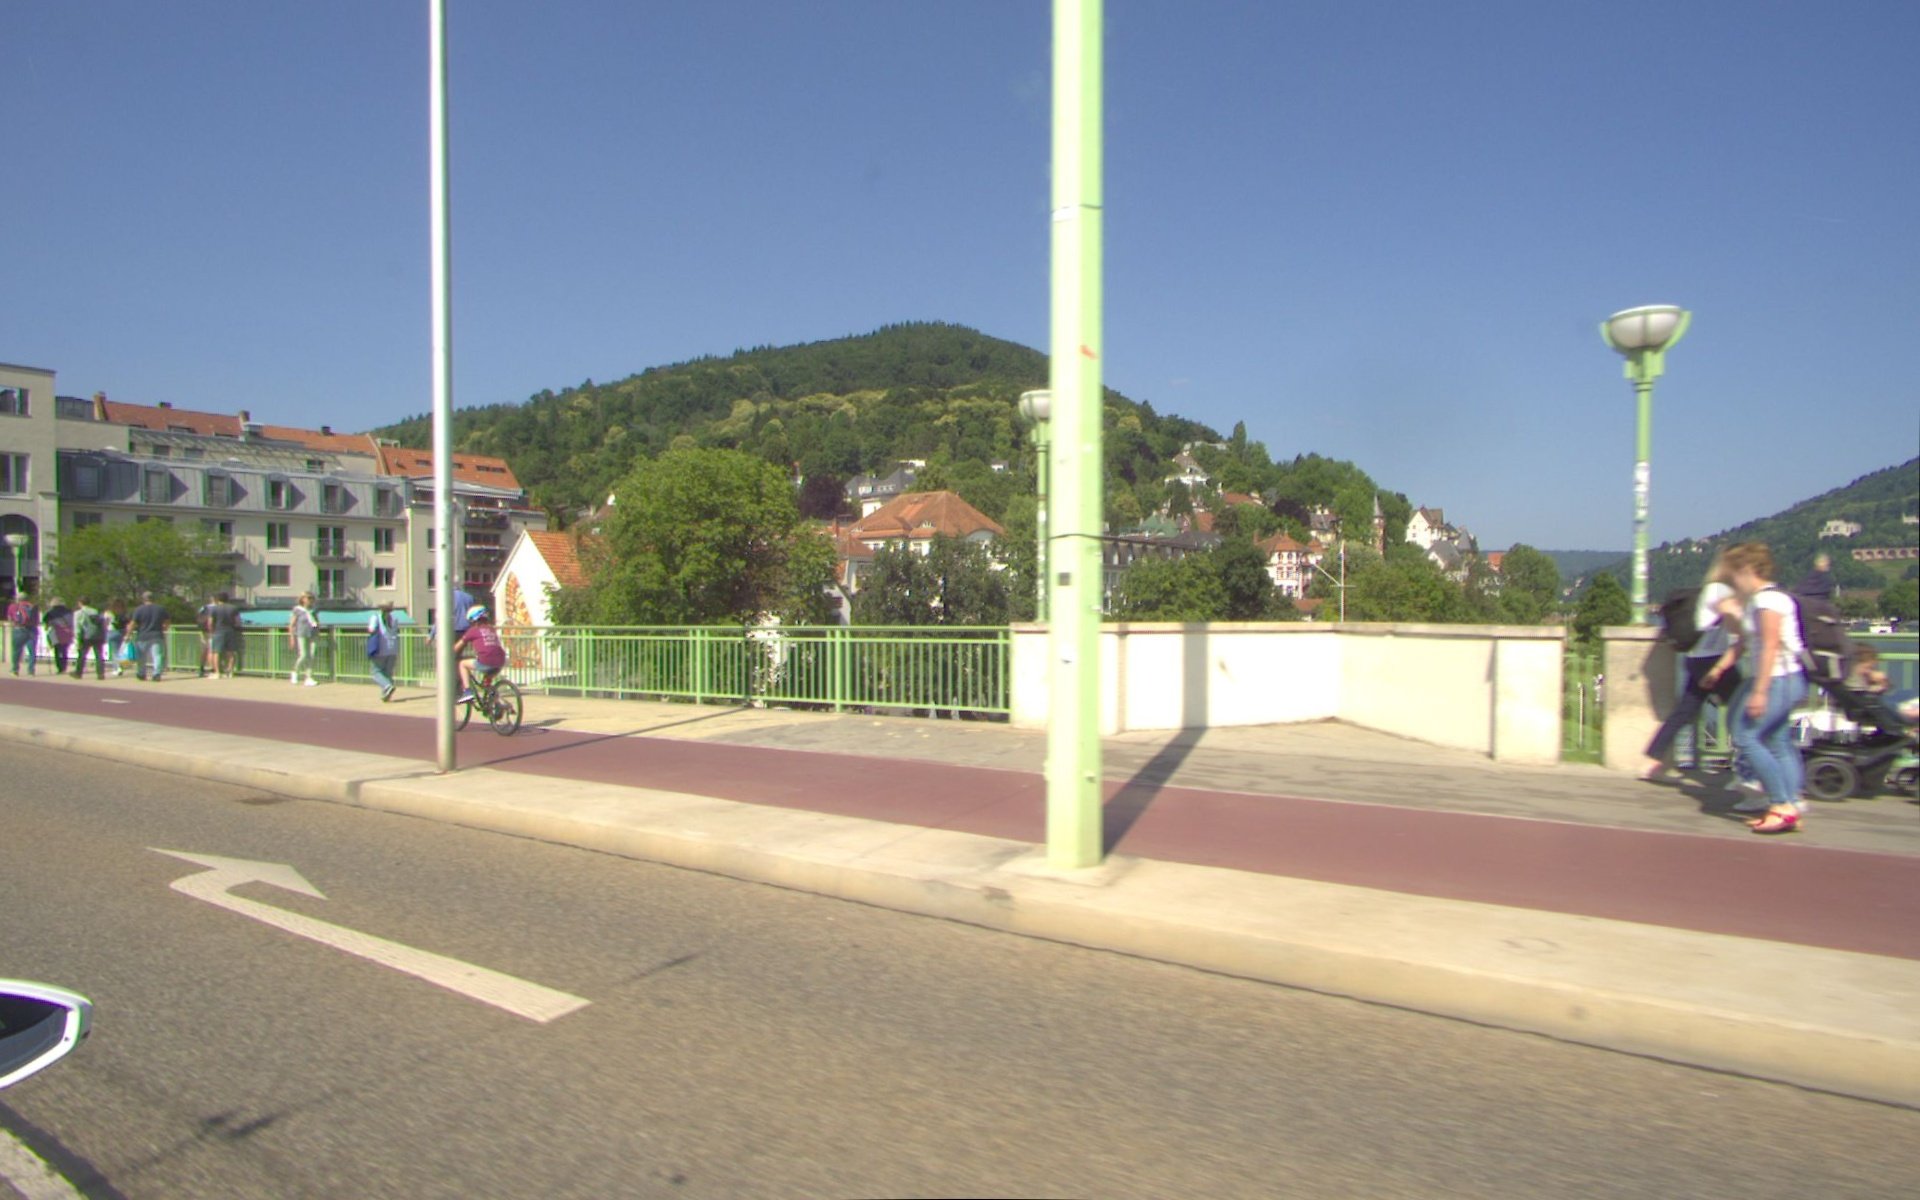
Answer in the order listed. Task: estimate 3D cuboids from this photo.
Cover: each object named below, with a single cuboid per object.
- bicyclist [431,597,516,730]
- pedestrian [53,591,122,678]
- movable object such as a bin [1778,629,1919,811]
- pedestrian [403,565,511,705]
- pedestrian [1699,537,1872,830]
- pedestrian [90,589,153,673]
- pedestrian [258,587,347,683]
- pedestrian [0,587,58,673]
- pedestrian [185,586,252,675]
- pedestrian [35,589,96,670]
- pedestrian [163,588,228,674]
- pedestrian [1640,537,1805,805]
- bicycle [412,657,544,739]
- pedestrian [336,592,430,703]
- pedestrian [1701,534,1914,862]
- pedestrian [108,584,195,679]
[{"bbox_3d":[-5.342,0.672,11.001,0.659,1.402,0.532,0,2,33],"label":"bicyclist"},{"bbox_3d":[-17.978,0.689,20.636,1.058,1.741,0.752,0,2,32],"label":"pedestrian"},{"bbox_3d":[5.981,0.756,6.527,0.920,1.105,0.580,0,1,32],"label":"movable object such as a bin"},{"bbox_3d":[-7.245,0.485,14.443,1.121,1.923,0.924,0,1,32],"label":"pedestrian"},{"bbox_3d":[5.085,0.482,6.222,0.735,1.681,0.665,0,1,32],"label":"pedestrian"},{"bbox_3d":[-18.332,0.666,21.898,1.001,1.770,0.737,0,2,32],"label":"pedestrian"},{"bbox_3d":[-11.975,0.616,18.246,1.067,1.685,0.945,0,2,32],"label":"pedestrian"},{"bbox_3d":[-20.437,0.643,21.915,1.001,1.827,0.737,0,2,32],"label":"pedestrian"},{"bbox_3d":[-15.113,0.604,20.411,1.001,1.742,0.737,0,2,32],"label":"pedestrian"},{"bbox_3d":[-20.343,0.655,22.771,1.001,1.802,0.737,0,2,32],"label":"pedestrian"},{"bbox_3d":[-15.995,0.635,20.959,1.001,1.741,0.738,0,1,31],"label":"pedestrian"},{"bbox_3d":[5.274,0.461,6.979,0.847,1.729,0.661,0,1,32],"label":"pedestrian"},{"bbox_3d":[-5.306,1.046,10.998,1.637,0.776,0.512,0,2,33],"label":"bicycle"},{"bbox_3d":[-8.483,0.669,14.727,0.919,1.550,0.827,0,2,32],"label":"pedestrian"},{"bbox_3d":[4.703,0.504,5.623,0.813,1.681,0.661,0,1,32],"label":"pedestrian"},{"bbox_3d":[-16.109,0.605,19.954,1.190,1.802,0.975,0,2,32],"label":"pedestrian"}]
